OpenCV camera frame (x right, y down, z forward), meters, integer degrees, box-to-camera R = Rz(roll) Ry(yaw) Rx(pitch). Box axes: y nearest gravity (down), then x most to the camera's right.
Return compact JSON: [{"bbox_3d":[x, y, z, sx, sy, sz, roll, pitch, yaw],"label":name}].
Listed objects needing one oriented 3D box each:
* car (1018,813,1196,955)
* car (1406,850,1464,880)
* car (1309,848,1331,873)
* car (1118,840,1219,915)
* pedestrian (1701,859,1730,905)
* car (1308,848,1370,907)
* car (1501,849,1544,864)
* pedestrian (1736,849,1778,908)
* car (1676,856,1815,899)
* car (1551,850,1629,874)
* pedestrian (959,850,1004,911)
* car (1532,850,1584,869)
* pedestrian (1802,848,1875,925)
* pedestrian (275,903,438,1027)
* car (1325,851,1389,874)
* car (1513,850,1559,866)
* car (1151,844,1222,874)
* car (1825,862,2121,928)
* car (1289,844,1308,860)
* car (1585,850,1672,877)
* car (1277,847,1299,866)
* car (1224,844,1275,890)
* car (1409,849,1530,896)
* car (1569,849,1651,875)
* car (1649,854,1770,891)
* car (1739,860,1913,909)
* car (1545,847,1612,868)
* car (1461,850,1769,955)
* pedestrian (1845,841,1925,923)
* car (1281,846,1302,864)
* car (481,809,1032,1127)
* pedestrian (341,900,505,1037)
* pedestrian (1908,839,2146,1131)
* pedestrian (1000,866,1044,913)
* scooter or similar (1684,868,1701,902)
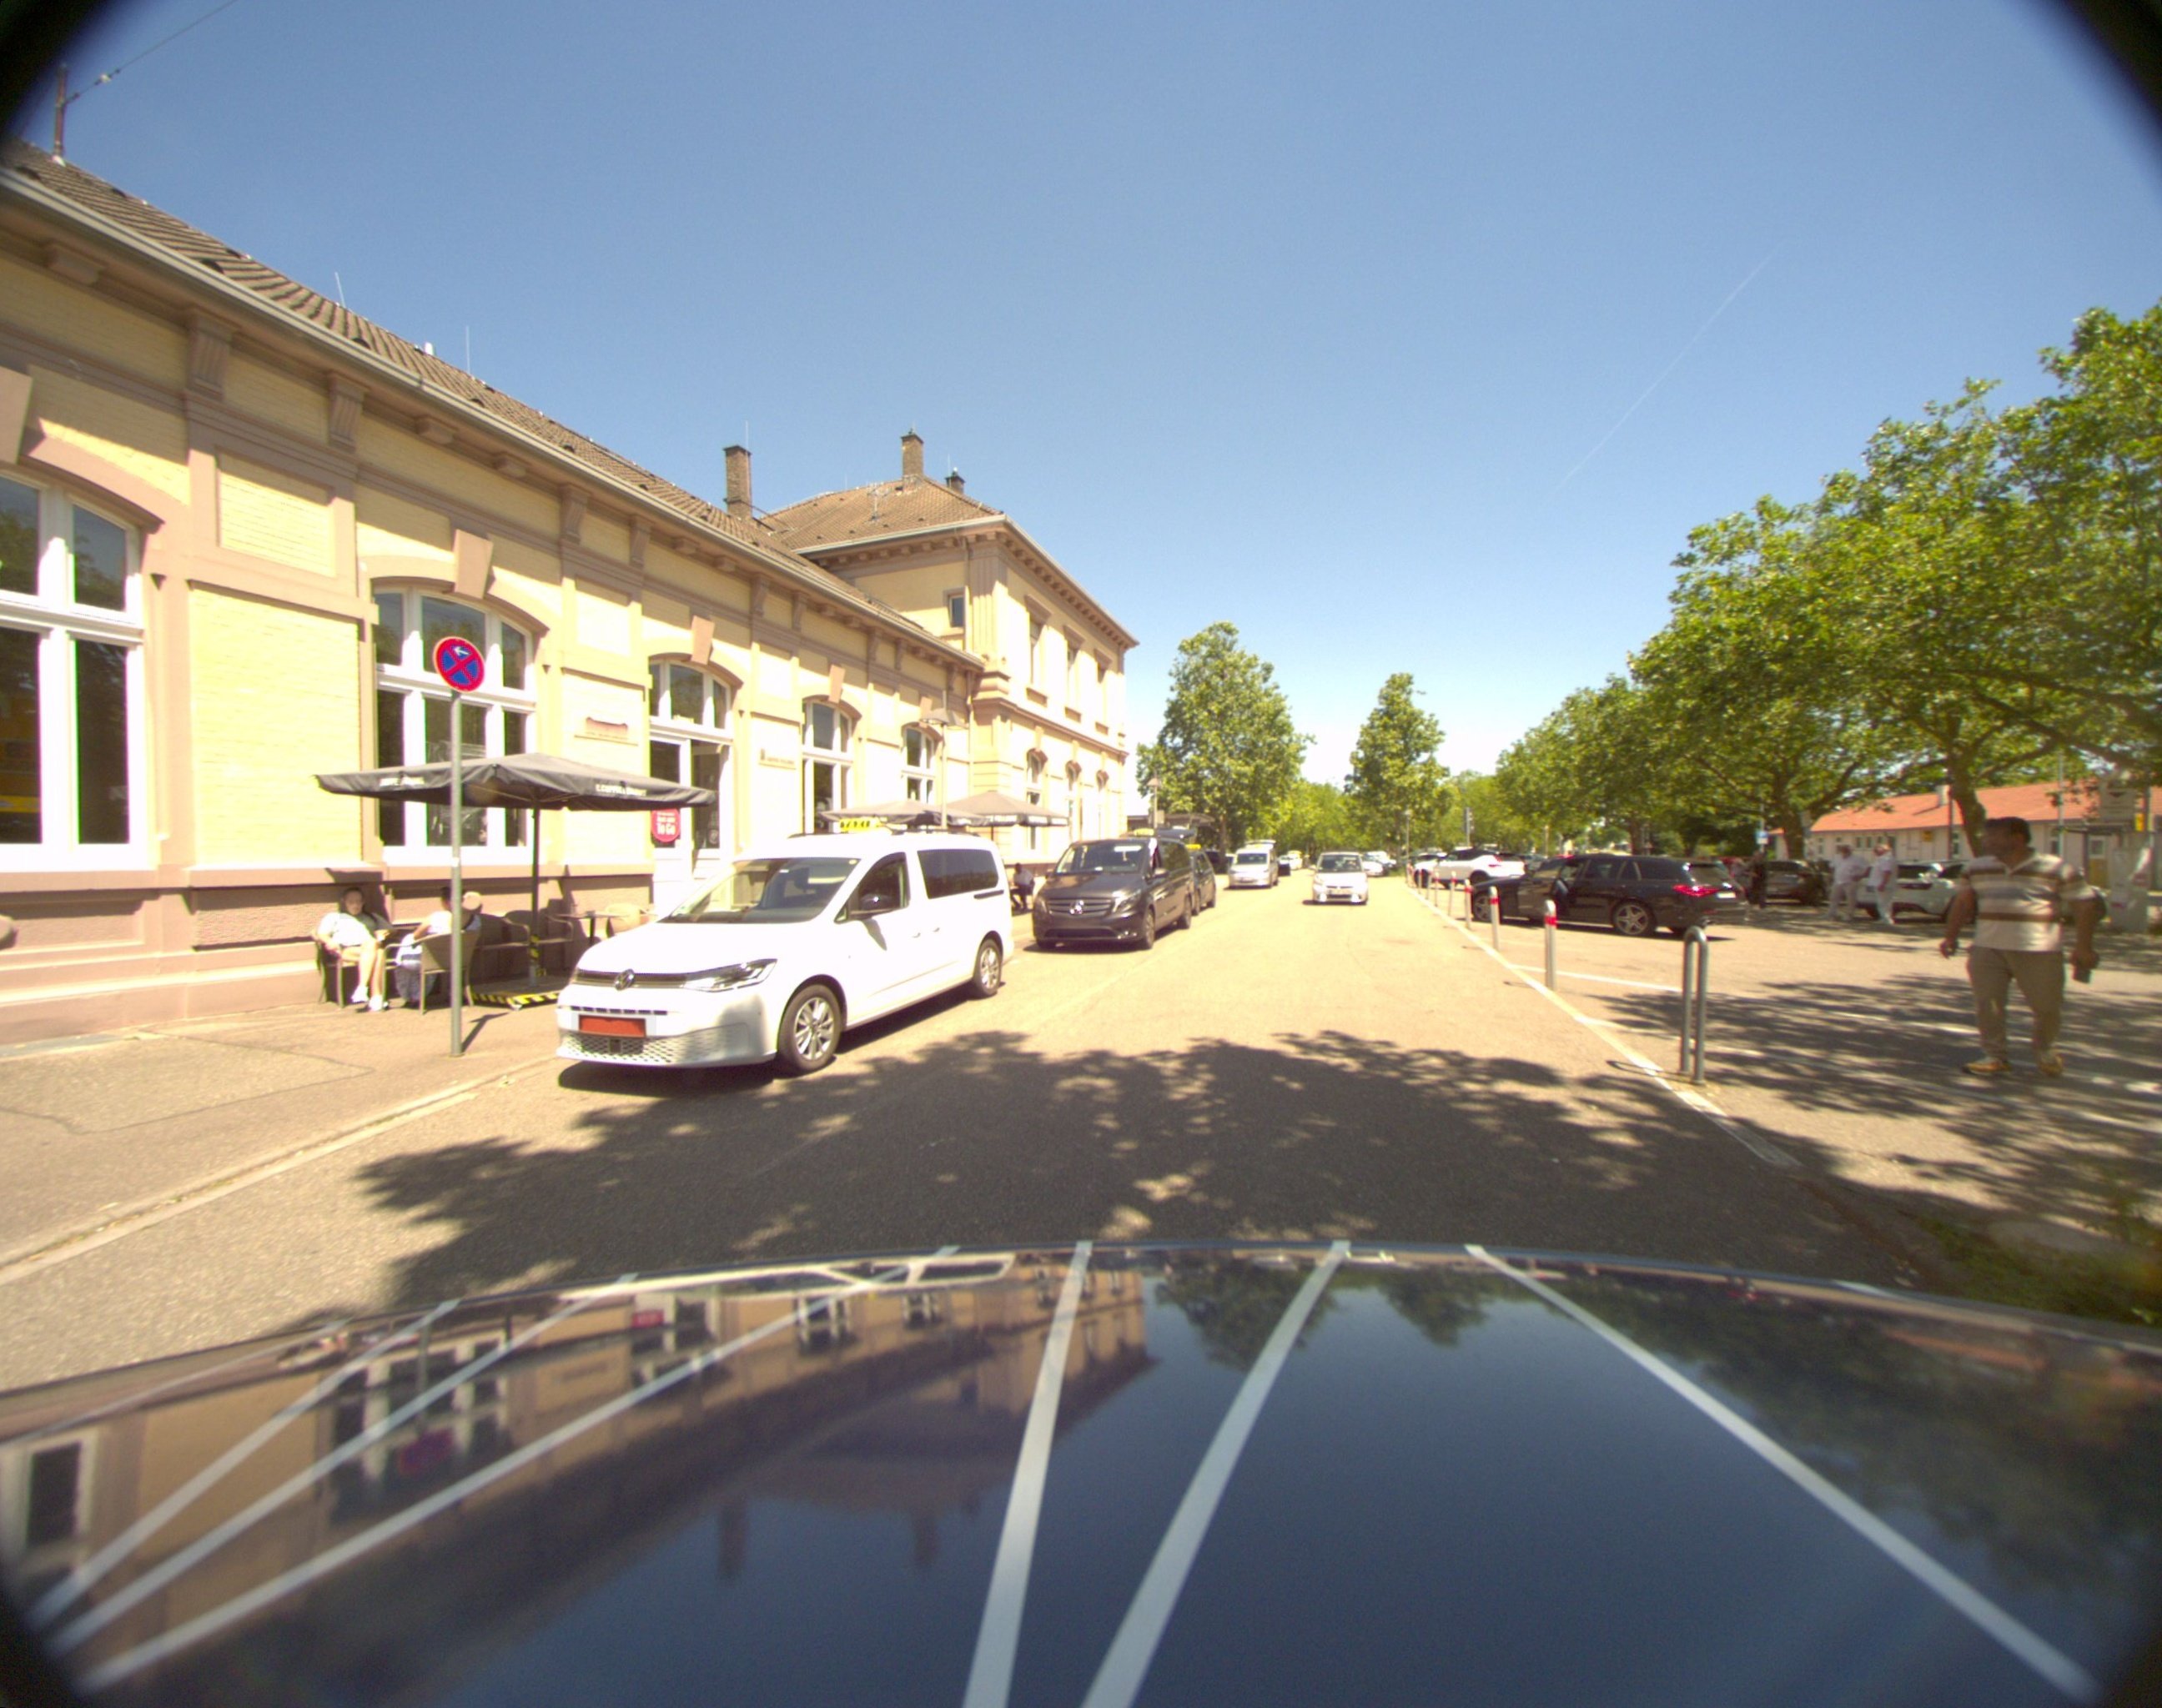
[{"bbox_3d":[0.789,0.474,14.330,2.089,2.111,5.832,-1,0,15],"label":"car"},{"bbox_3d":[23.294,0.692,50.159,1.738,1.883,3.998,0,1,-4],"label":"car"},{"bbox_3d":[17.003,0.439,54.070,1.454,1.660,3.110,0,1,18],"label":"car"},{"bbox_3d":[2.547,0.591,20.982,2.077,1.829,4.846,-1,0,15],"label":"car"},{"bbox_3d":[20.456,0.886,24.506,0.689,1.416,0.803,0,1,39],"label":"pedestrian"},{"bbox_3d":[7.583,0.636,22.286,1.598,1.584,3.110,0,1,20],"label":"car"},{"bbox_3d":[40.706,0.202,70.167,3.154,1.386,1.467,0,1,14],"label":"car"},{"bbox_3d":[18.105,0.652,20.359,0.588,1.539,0.611,1,1,16],"label":"pedestrian"},{"bbox_3d":[24.010,0.815,27.511,3.876,1.452,1.635,0,1,-8],"label":"car"},{"bbox_3d":[31.427,0.468,46.932,3.876,1.452,1.635,0,1,-8],"label":"car"},{"bbox_3d":[-2.613,0.678,20.060,0.880,1.534,0.853,2,1,16],"label":"pedestrian"},{"bbox_3d":[37.172,0.417,59.313,3.154,1.386,1.467,0,1,14],"label":"car"},{"bbox_3d":[17.822,0.746,17.903,0.838,1.760,0.852,0,1,1],"label":"pedestrian"},{"bbox_3d":[-7.252,1.075,7.638,0.880,1.073,0.853,2,1,16],"label":"pedestrian"},{"bbox_3d":[17.619,0.522,48.607,1.806,1.395,3.504,0,0,-30],"label":"car"},{"bbox_3d":[39.818,0.336,66.583,3.154,1.386,1.467,0,1,14],"label":"car"},{"bbox_3d":[8.053,0.358,57.959,4.954,2.108,2.054,-2,0,18],"label":"car"},{"bbox_3d":[20.688,0.919,17.770,4.774,1.409,1.786,0,1,1],"label":"car"},{"bbox_3d":[26.584,-0.222,92.828,2.048,1.829,4.970,-2,0,15],"label":"car"},{"bbox_3d":[30.499,0.501,42.347,3.876,1.452,1.635,0,1,-8],"label":"car"},{"bbox_3d":[20.863,0.207,76.684,2.048,1.829,4.970,-2,0,15],"label":"car"},{"bbox_3d":[7.664,0.525,34.172,2.001,1.829,5.324,-2,0,15],"label":"car"},{"bbox_3d":[15.397,0.660,30.336,1.803,1.596,4.054,-2,3,-25],"label":"car"},{"bbox_3d":[31.048,0.453,44.628,3.876,1.452,1.635,0,1,-8],"label":"car"},{"bbox_3d":[25.645,0.725,31.073,3.876,1.452,1.635,0,1,-8],"label":"car"},{"bbox_3d":[23.259,0.909,23.806,4.028,1.397,1.876,0,1,-9],"label":"car"},{"bbox_3d":[35.804,0.234,54.715,3.876,1.439,1.635,0,1,-8],"label":"car"},{"bbox_3d":[9.944,0.762,14.621,1.803,1.534,4.519,-2,3,-26],"label":"car"},{"bbox_3d":[17.814,0.603,16.861,0.838,1.760,0.851,0,1,-1],"label":"pedestrian"},{"bbox_3d":[22.959,0.046,83.014,2.048,1.829,4.970,-2,0,15],"label":"car"},{"bbox_3d":[-2.264,0.688,7.152,1.811,1.855,5.146,-1,0,18],"label":"car"},{"bbox_3d":[-6.350,1.065,7.372,0.880,1.155,0.853,2,1,16],"label":"pedestrian"},{"bbox_3d":[6.144,0.760,4.960,0.775,1.707,0.813,-1,1,-27],"label":"pedestrian"},{"bbox_3d":[-1.545,0.929,19.982,0.850,1.158,0.883,2,1,19],"label":"pedestrian"},{"bbox_3d":[19.956,1.007,24.791,0.402,1.095,0.439,0,1,39],"label":"scooter or similar"}]
